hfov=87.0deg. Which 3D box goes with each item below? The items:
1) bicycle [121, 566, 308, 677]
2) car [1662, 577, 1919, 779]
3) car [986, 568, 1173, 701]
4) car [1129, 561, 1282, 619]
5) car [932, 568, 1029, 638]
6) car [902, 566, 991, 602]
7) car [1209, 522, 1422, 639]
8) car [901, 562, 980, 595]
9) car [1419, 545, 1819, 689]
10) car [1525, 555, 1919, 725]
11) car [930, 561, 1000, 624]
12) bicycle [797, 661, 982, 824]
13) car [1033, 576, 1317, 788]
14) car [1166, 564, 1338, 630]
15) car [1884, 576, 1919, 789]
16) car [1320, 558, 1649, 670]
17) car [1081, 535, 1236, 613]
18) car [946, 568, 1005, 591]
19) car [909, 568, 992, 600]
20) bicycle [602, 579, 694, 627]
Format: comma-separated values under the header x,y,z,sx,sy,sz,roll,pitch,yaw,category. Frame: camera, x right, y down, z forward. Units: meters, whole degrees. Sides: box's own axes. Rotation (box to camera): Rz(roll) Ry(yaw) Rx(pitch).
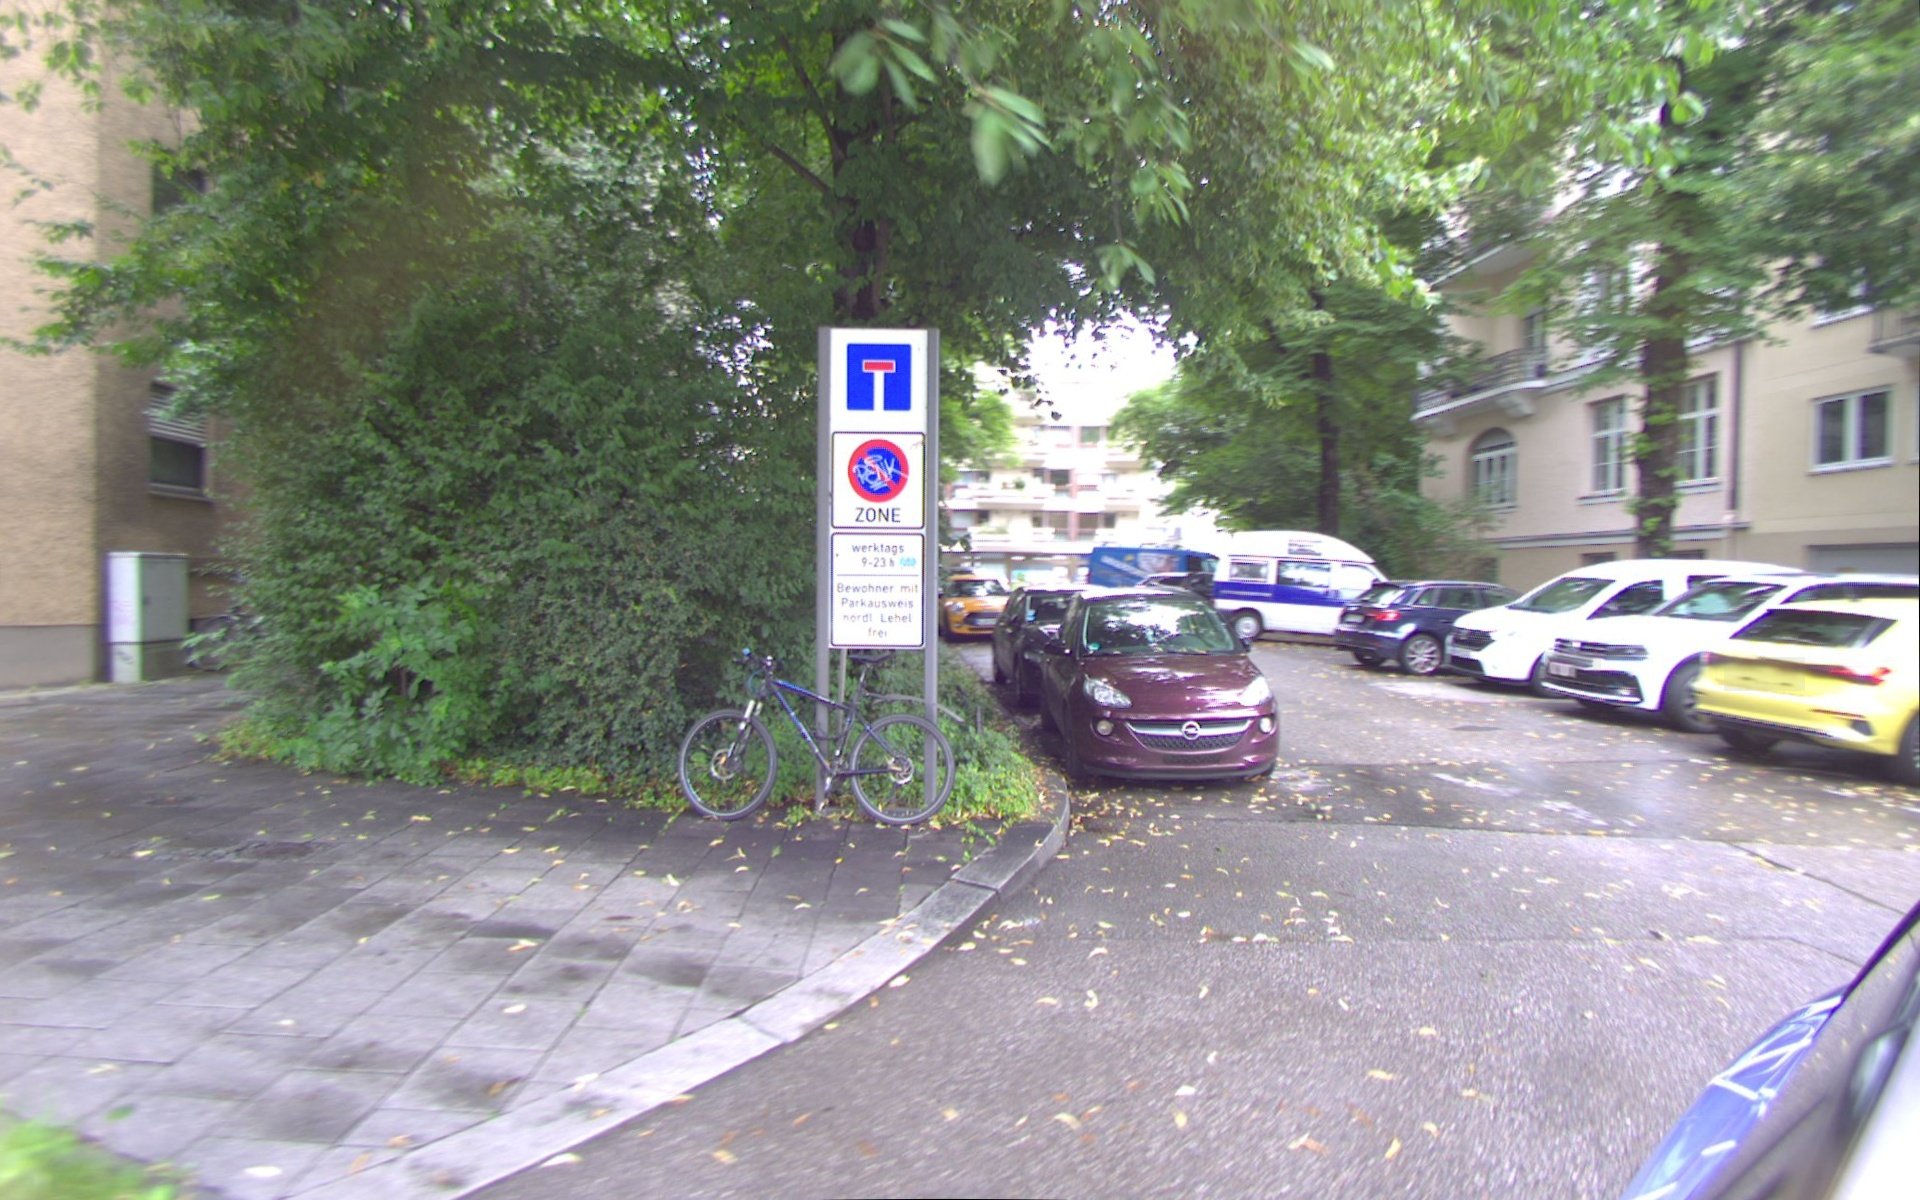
x,y,z,sx,sy,sz,roll,pitch,yaw,category
-9.058,0.201,12.453,0.690,1.232,2.435,0,2,-5,bicycle
8.691,0.567,8.616,4.160,1.485,1.921,0,1,-5,car
1.422,0.347,13.611,1.699,1.515,4.051,0,1,-5,car
7.330,-0.352,30.332,4.083,1.623,1.880,2,2,35,car
0.376,0.009,23.153,1.663,1.456,3.783,0,1,-7,car
-0.611,-0.712,43.748,3.616,1.496,1.858,0,1,-7,car
7.566,-0.447,21.771,4.129,2.342,1.892,1,1,20,car
-0.971,-1.043,48.977,3.616,1.496,1.858,0,1,-7,car
8.713,0.197,13.633,4.161,1.773,1.920,0,1,-4,car
8.701,0.379,10.902,4.160,1.640,1.921,0,1,-5,car
0.072,-0.254,28.175,1.664,1.618,4.111,0,1,-3,car
-0.410,0.825,5.970,1.060,0.891,0.249,1,1,6,bicycle
1.689,0.552,9.170,1.700,1.515,3.710,1,1,-1,car
7.821,-0.132,27.192,4.081,1.623,1.881,1,1,34,car
8.881,0.614,6.494,4.160,1.485,2.057,0,1,-5,car
8.118,0.187,15.904,4.161,1.619,1.920,0,1,-4,car
6.571,-0.879,33.650,4.653,2.441,1.957,1,1,31,car
0.940,-1.302,63.388,3.619,1.373,1.856,1,1,-2,car
-0.489,-0.758,46.535,3.616,1.410,1.858,0,1,-7,car
-6.204,0.055,20.185,1.722,0.924,0.534,0,1,-13,bicycle
